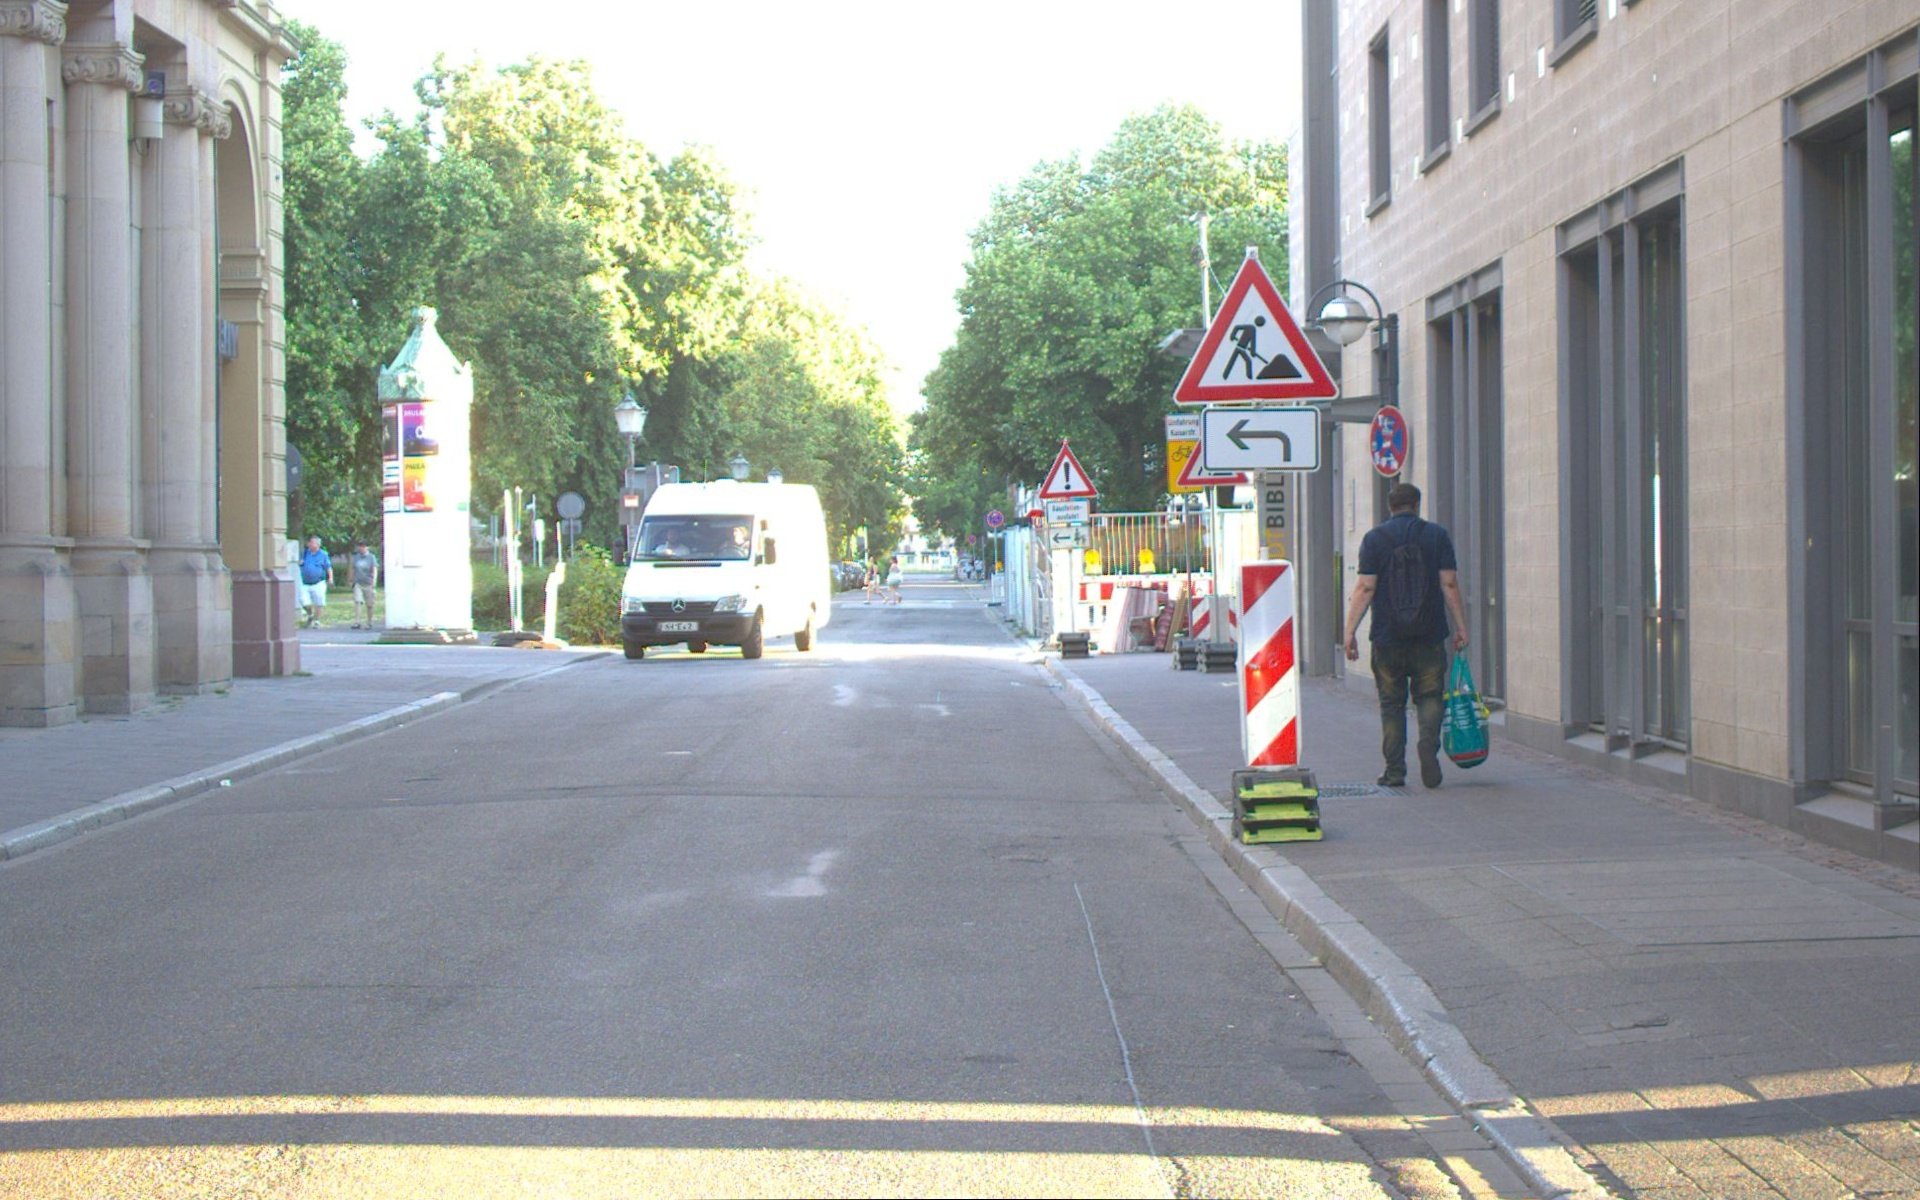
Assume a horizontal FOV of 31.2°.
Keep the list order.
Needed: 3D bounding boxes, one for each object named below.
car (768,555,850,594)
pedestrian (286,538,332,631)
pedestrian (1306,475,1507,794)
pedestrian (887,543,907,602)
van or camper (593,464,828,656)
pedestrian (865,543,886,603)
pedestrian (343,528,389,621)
[{"bbox_3d":[-7.070,-1.190,161.134,3.564,1.777,1.789,-1,0,9],"label":"car"},{"bbox_3d":[-12.688,-0.314,66.962,0.849,1.801,0.664,0,1,-13],"label":"pedestrian"},{"bbox_3d":[2.599,0.195,20.108,1.000,1.797,0.882,-2,0,-1],"label":"pedestrian"},{"bbox_3d":[-2.120,-0.925,115.675,0.581,2.007,0.682,0,1,-8],"label":"pedestrian"},{"bbox_3d":[-3.500,-0.600,49.643,2.219,2.576,6.370,0,1,7],"label":"van or camper"},{"bbox_3d":[-2.855,-0.911,116.119,0.609,2.007,0.905,0,1,-8],"label":"pedestrian"},{"bbox_3d":[-11.622,-0.506,67.285,0.849,1.801,0.664,0,1,-13],"label":"pedestrian"}]
